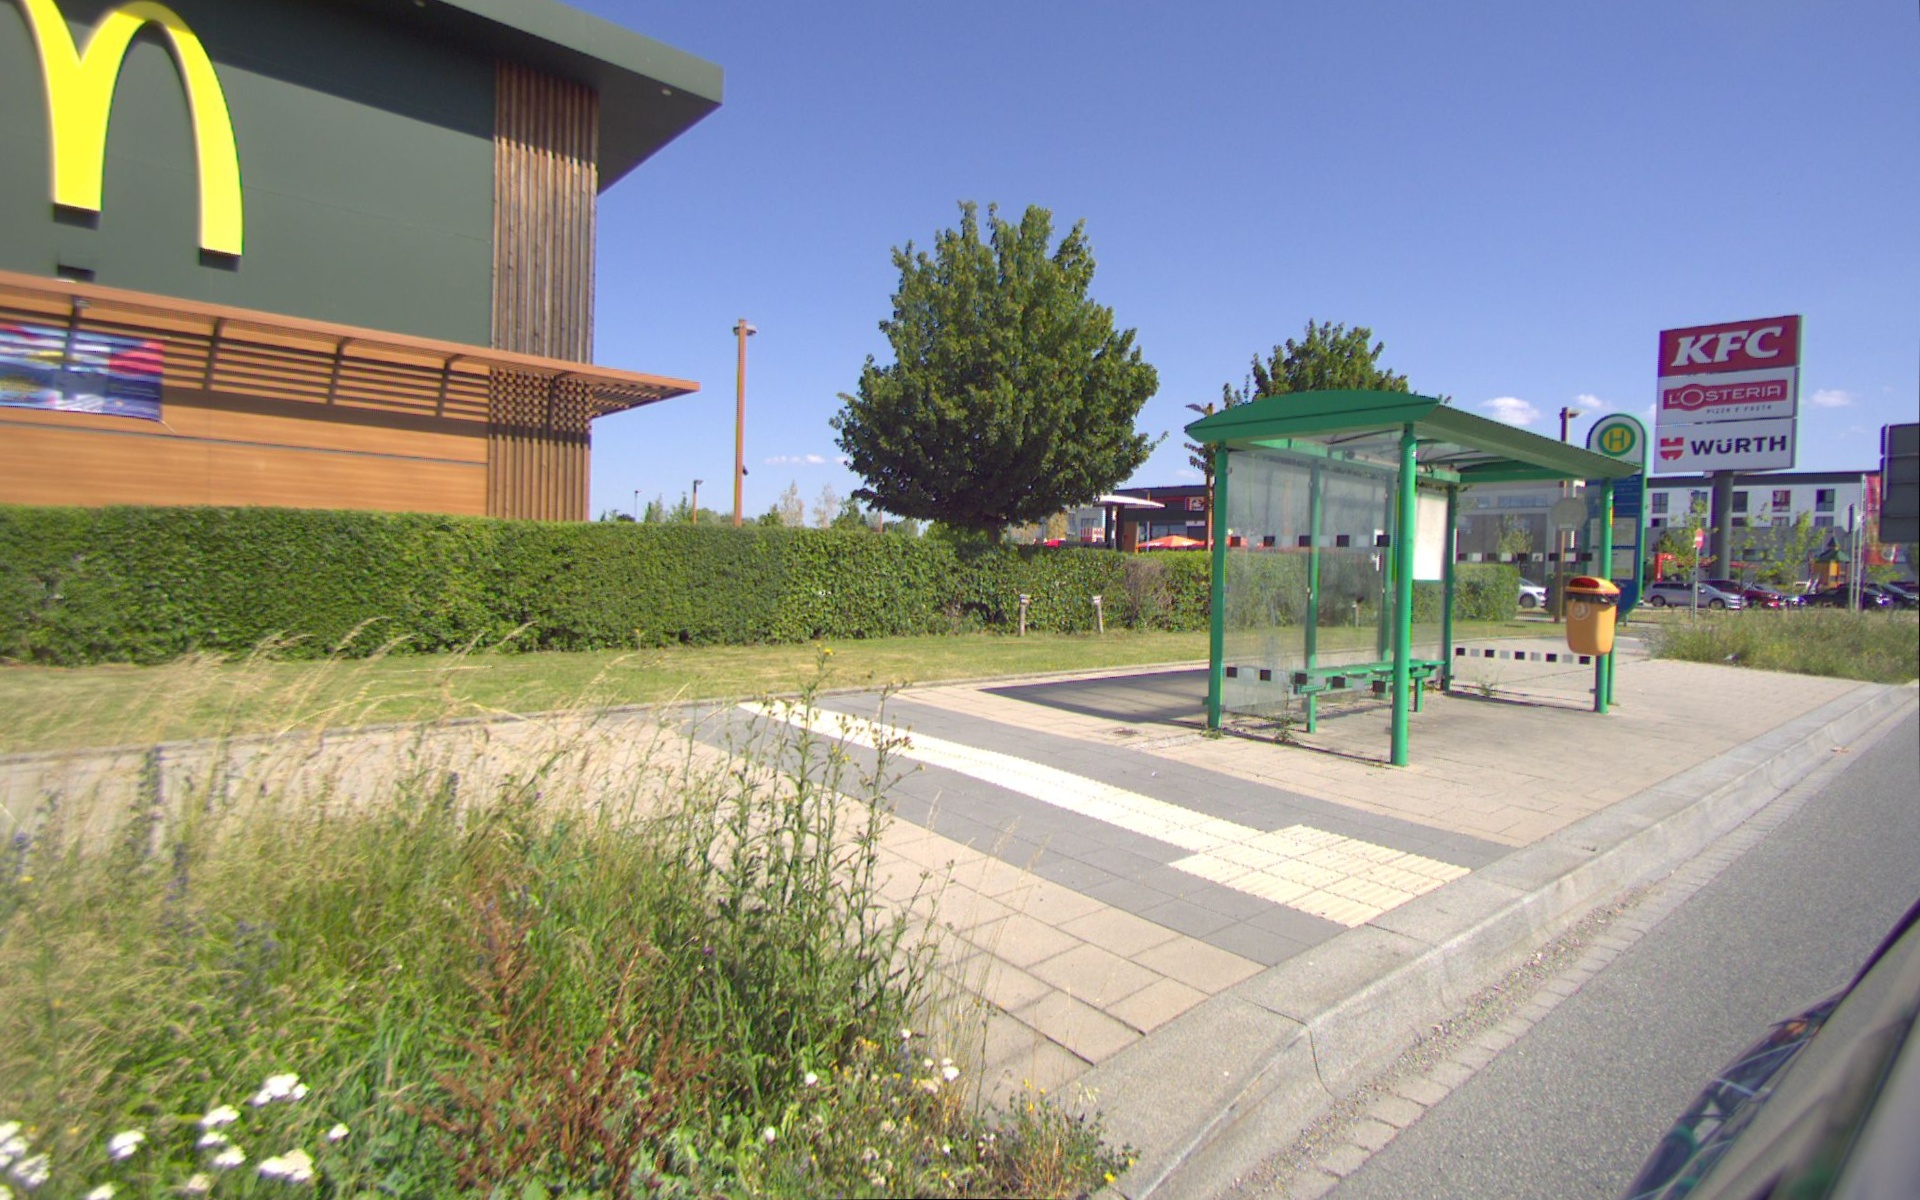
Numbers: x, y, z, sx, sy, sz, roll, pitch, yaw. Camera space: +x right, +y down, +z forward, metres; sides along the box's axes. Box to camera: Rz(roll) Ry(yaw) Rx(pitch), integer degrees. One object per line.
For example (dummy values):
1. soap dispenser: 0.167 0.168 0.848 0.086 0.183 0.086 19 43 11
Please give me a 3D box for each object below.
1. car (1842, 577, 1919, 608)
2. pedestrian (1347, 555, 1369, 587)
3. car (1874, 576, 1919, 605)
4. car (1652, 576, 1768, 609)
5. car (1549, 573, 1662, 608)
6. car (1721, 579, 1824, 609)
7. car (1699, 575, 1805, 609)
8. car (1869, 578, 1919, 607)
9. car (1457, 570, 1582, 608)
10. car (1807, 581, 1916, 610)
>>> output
1. car: 56.951 -0.444 61.685 1.753 1.756 4.431 1 2 -22
2. pedestrian: 25.363 -1.847 64.531 0.874 2.038 0.916 0 2 -37
3. car: 62.292 -0.569 64.921 1.899 1.756 5.010 1 2 -24
4. car: 39.680 -0.432 53.663 1.831 1.508 4.577 1 2 -29
5. car: 31.177 -0.475 49.000 1.832 1.508 4.222 1 2 -33
6. car: 45.812 -0.351 57.141 1.756 1.467 4.172 1 3 -31
7. car: 43.662 -0.481 55.906 1.830 1.685 4.176 1 2 -26
8. car: 59.761 -0.434 62.934 1.753 1.756 4.431 1 2 -22
9. car: 24.888 -0.524 45.160 1.832 1.508 4.544 1 2 -33
10. car: 53.149 -0.304 59.763 1.754 1.467 4.431 1 2 -23
